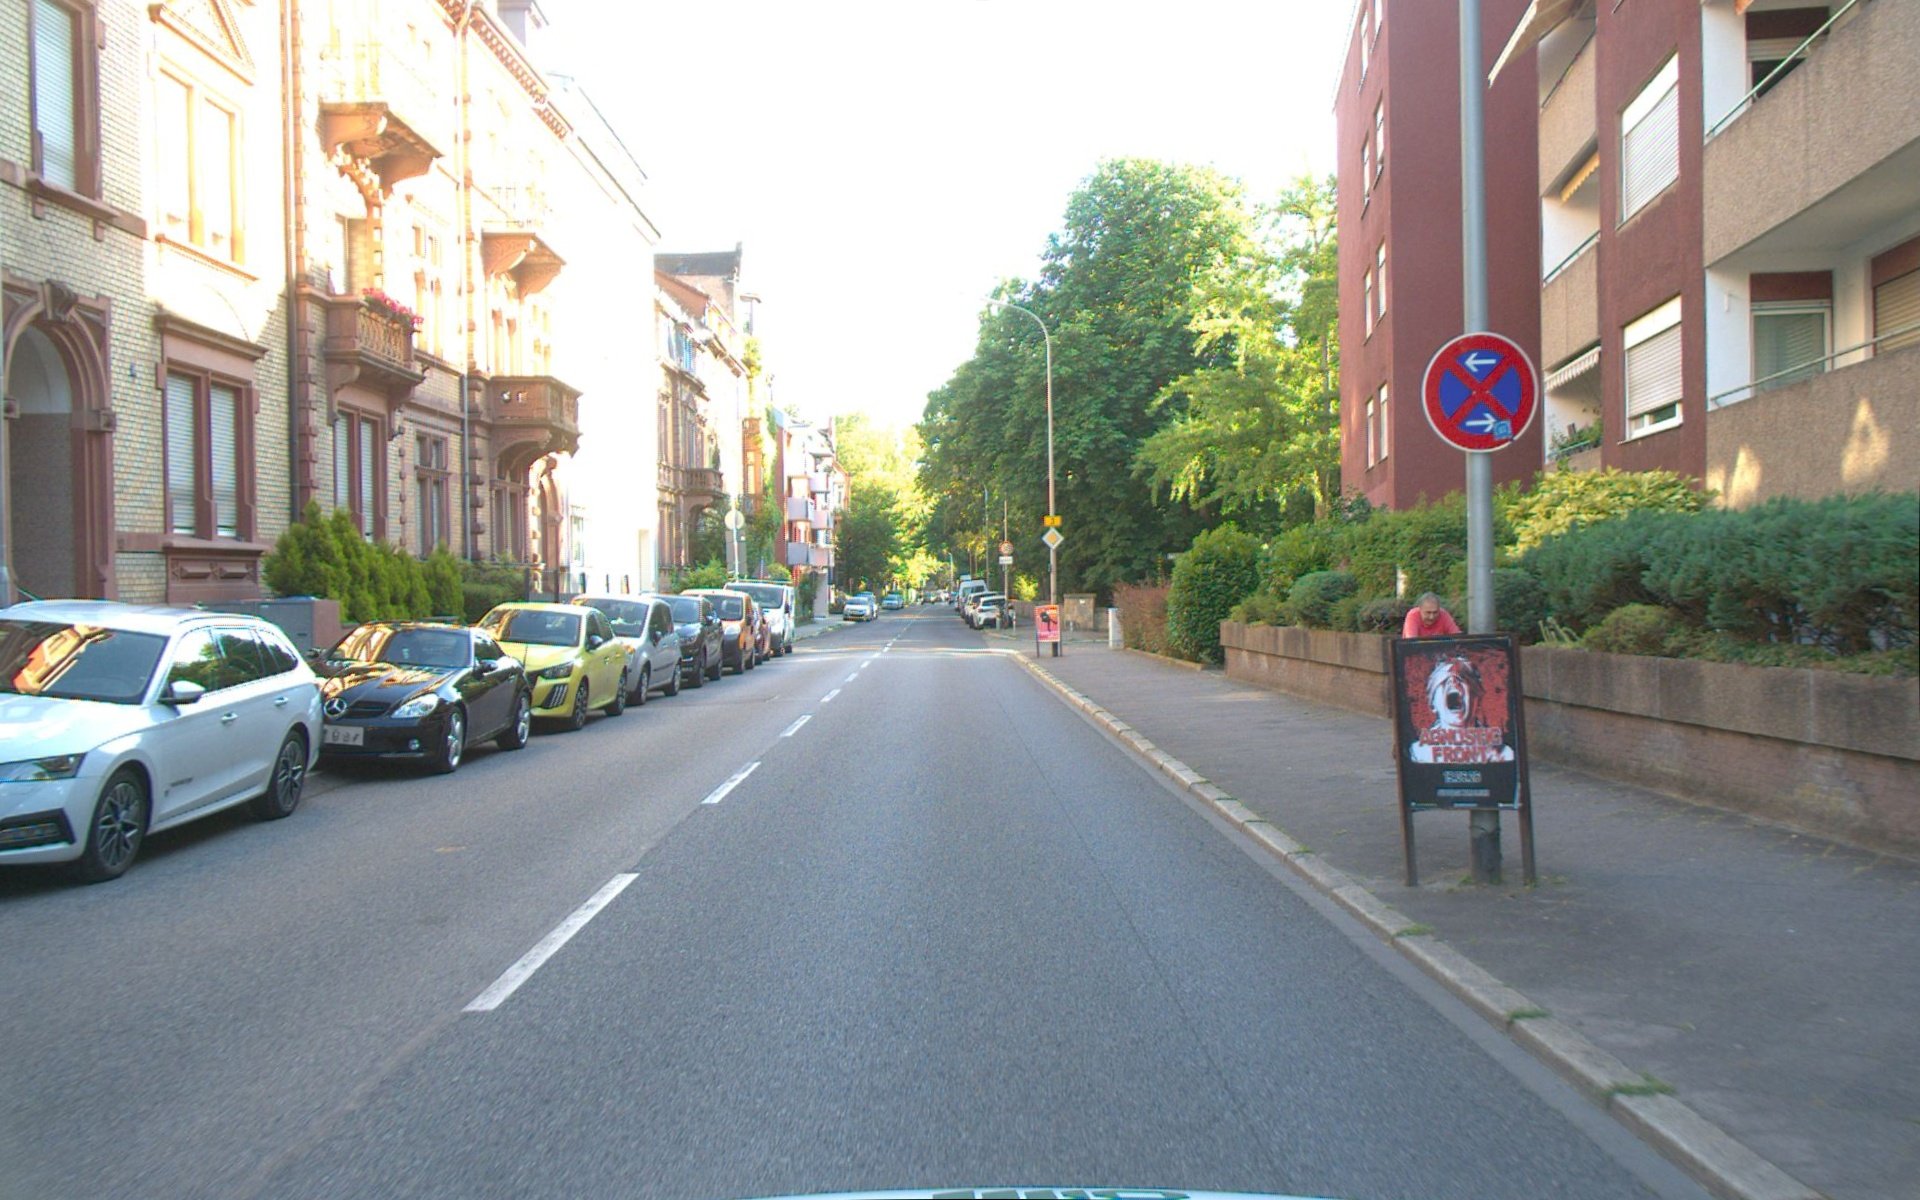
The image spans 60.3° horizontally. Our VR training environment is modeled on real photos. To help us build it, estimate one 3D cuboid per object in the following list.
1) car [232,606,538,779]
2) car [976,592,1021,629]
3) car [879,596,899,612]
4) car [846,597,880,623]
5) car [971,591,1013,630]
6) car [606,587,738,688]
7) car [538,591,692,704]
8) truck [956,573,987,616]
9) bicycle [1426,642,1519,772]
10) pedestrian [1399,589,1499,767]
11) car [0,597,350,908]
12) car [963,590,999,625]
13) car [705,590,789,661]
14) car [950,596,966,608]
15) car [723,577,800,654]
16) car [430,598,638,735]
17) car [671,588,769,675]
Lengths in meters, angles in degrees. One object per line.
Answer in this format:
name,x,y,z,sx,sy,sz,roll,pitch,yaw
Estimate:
car,-5.295,0.786,15.757,1.668,1.390,3.858,1,0,-2
car,1.747,0.445,75.725,1.952,1.544,4.001,-1,1,1
car,-7.489,0.450,174.493,1.953,1.517,4.470,-1,1,-1
car,-6.291,0.656,107.711,1.953,1.517,4.470,-1,1,-1
car,1.558,0.476,81.279,1.952,1.767,4.001,-1,1,1
car,-5.297,0.635,30.905,1.667,1.737,4.440,1,0,0
car,-5.290,0.674,25.763,1.668,1.611,3.634,1,0,-1
truck,0.787,-0.430,116.760,1.953,2.947,4.470,-1,1,-1
bicycle,4.054,0.836,13.103,0.555,0.987,0.492,1,1,-3
pedestrian,4.042,0.627,13.706,0.586,1.427,0.668,1,1,-3
car,-5.593,0.785,10.789,1.668,1.563,4.547,1,0,-2
car,1.163,0.393,91.897,1.952,1.767,4.001,-1,1,1
car,-5.245,0.588,41.128,1.668,1.648,4.116,1,0,-2
car,-0.257,0.207,225.817,1.954,1.517,4.467,-1,1,-4
car,-5.534,0.403,46.590,1.757,2.045,4.696,1,0,-2
car,-5.236,0.793,20.836,1.668,1.529,4.070,1,-1,-2
car,-5.127,0.635,35.726,1.668,1.769,3.855,1,0,-2
